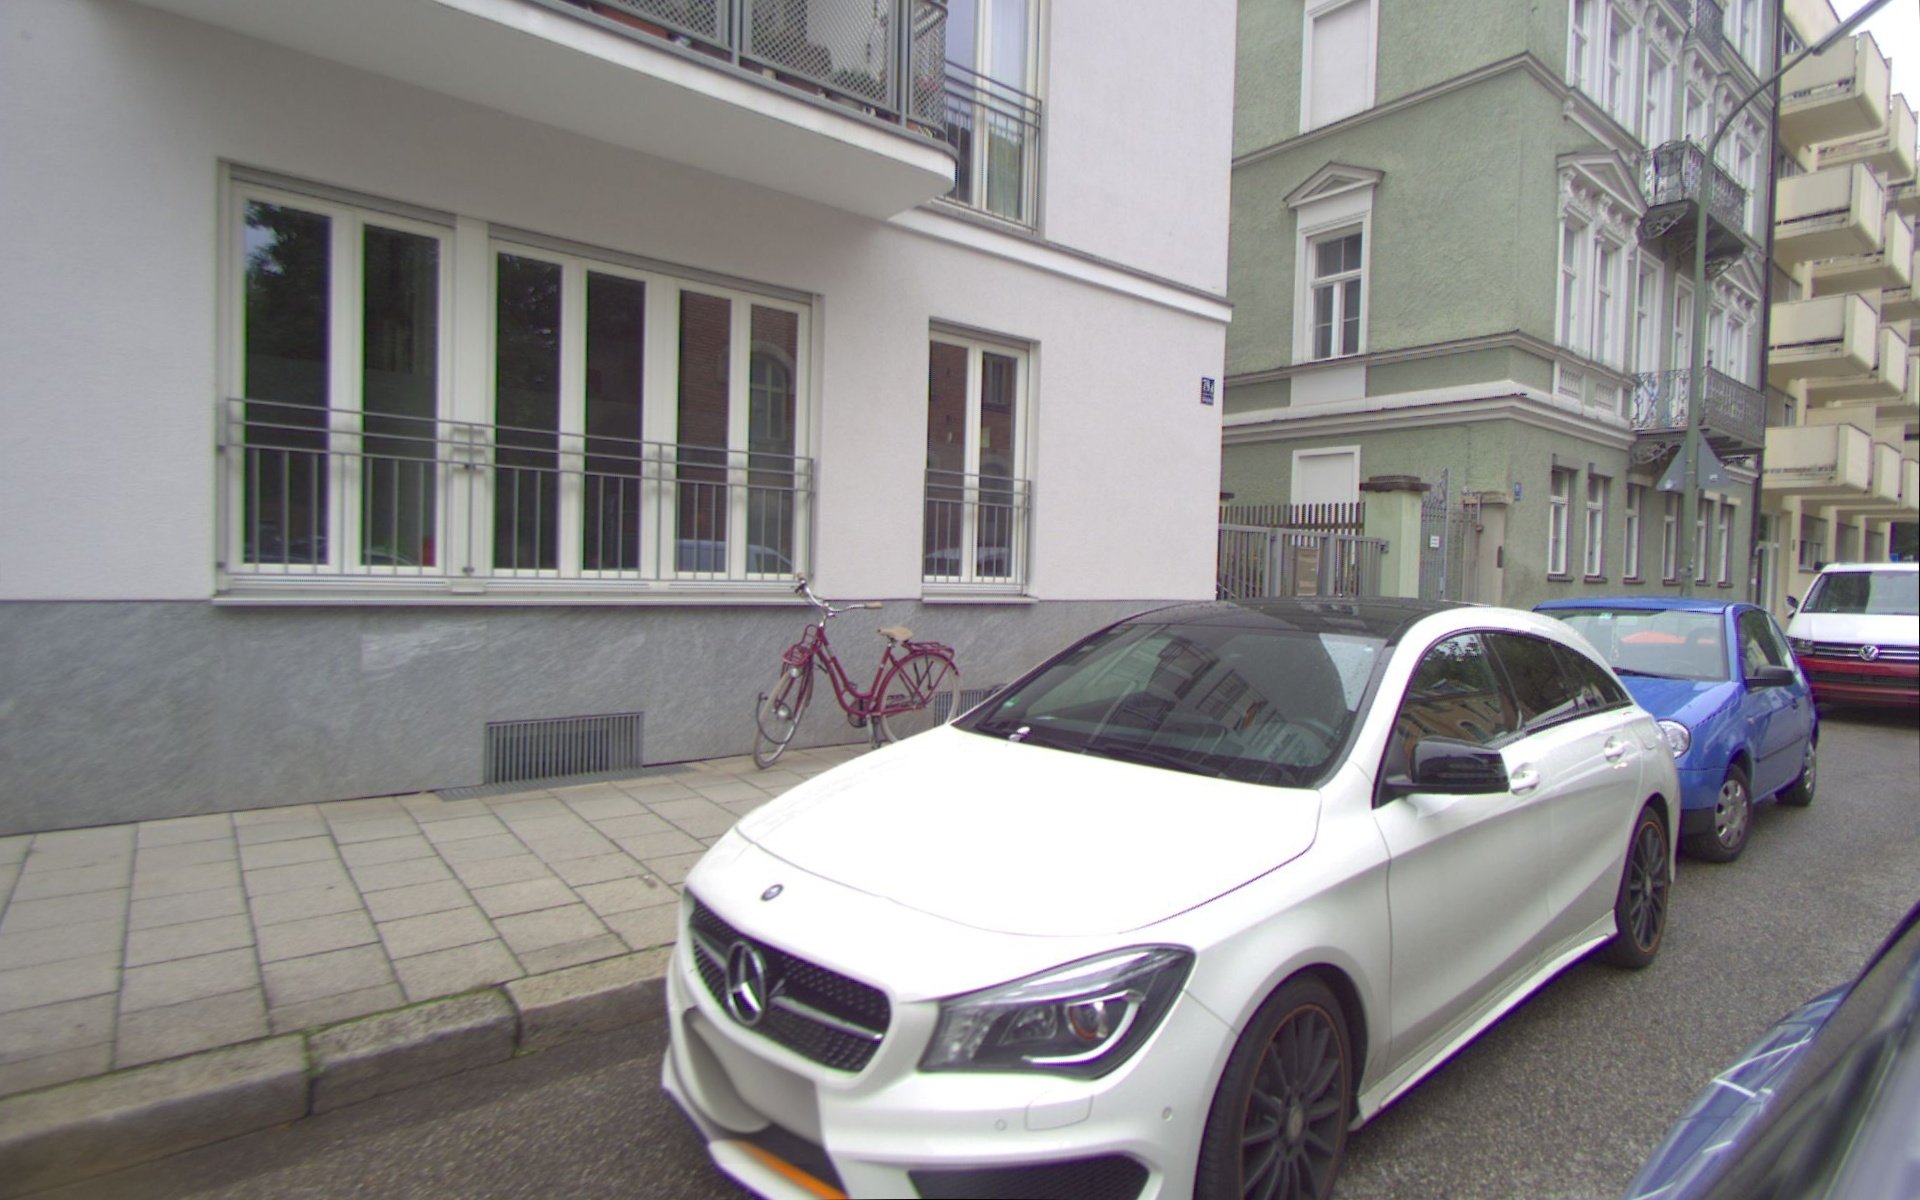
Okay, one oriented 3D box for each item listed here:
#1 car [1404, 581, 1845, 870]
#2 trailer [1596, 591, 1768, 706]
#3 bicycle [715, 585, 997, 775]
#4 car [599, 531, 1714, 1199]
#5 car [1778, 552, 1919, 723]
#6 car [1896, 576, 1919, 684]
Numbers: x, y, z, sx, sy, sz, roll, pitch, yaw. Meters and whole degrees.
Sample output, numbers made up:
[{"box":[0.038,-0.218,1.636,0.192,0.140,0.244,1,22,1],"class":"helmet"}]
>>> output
[{"box":[4.575,0.600,6.789,3.492,1.430,1.621,-1,0,-42],"class":"car"},{"box":[8.778,0.546,12.283,2.122,1.197,0.946,0,5,-34],"class":"trailer"},{"box":[-0.644,0.455,6.707,1.803,1.040,0.679,-2,4,-41],"class":"bicycle"},{"box":[1.087,0.615,3.547,4.133,1.458,1.661,0,0,-41],"class":"car"},{"box":[12.308,0.426,13.005,4.508,1.920,1.858,0,0,-38],"class":"car"},{"box":[17.924,0.521,17.602,4.471,1.780,1.831,1,0,-40],"class":"car"}]
